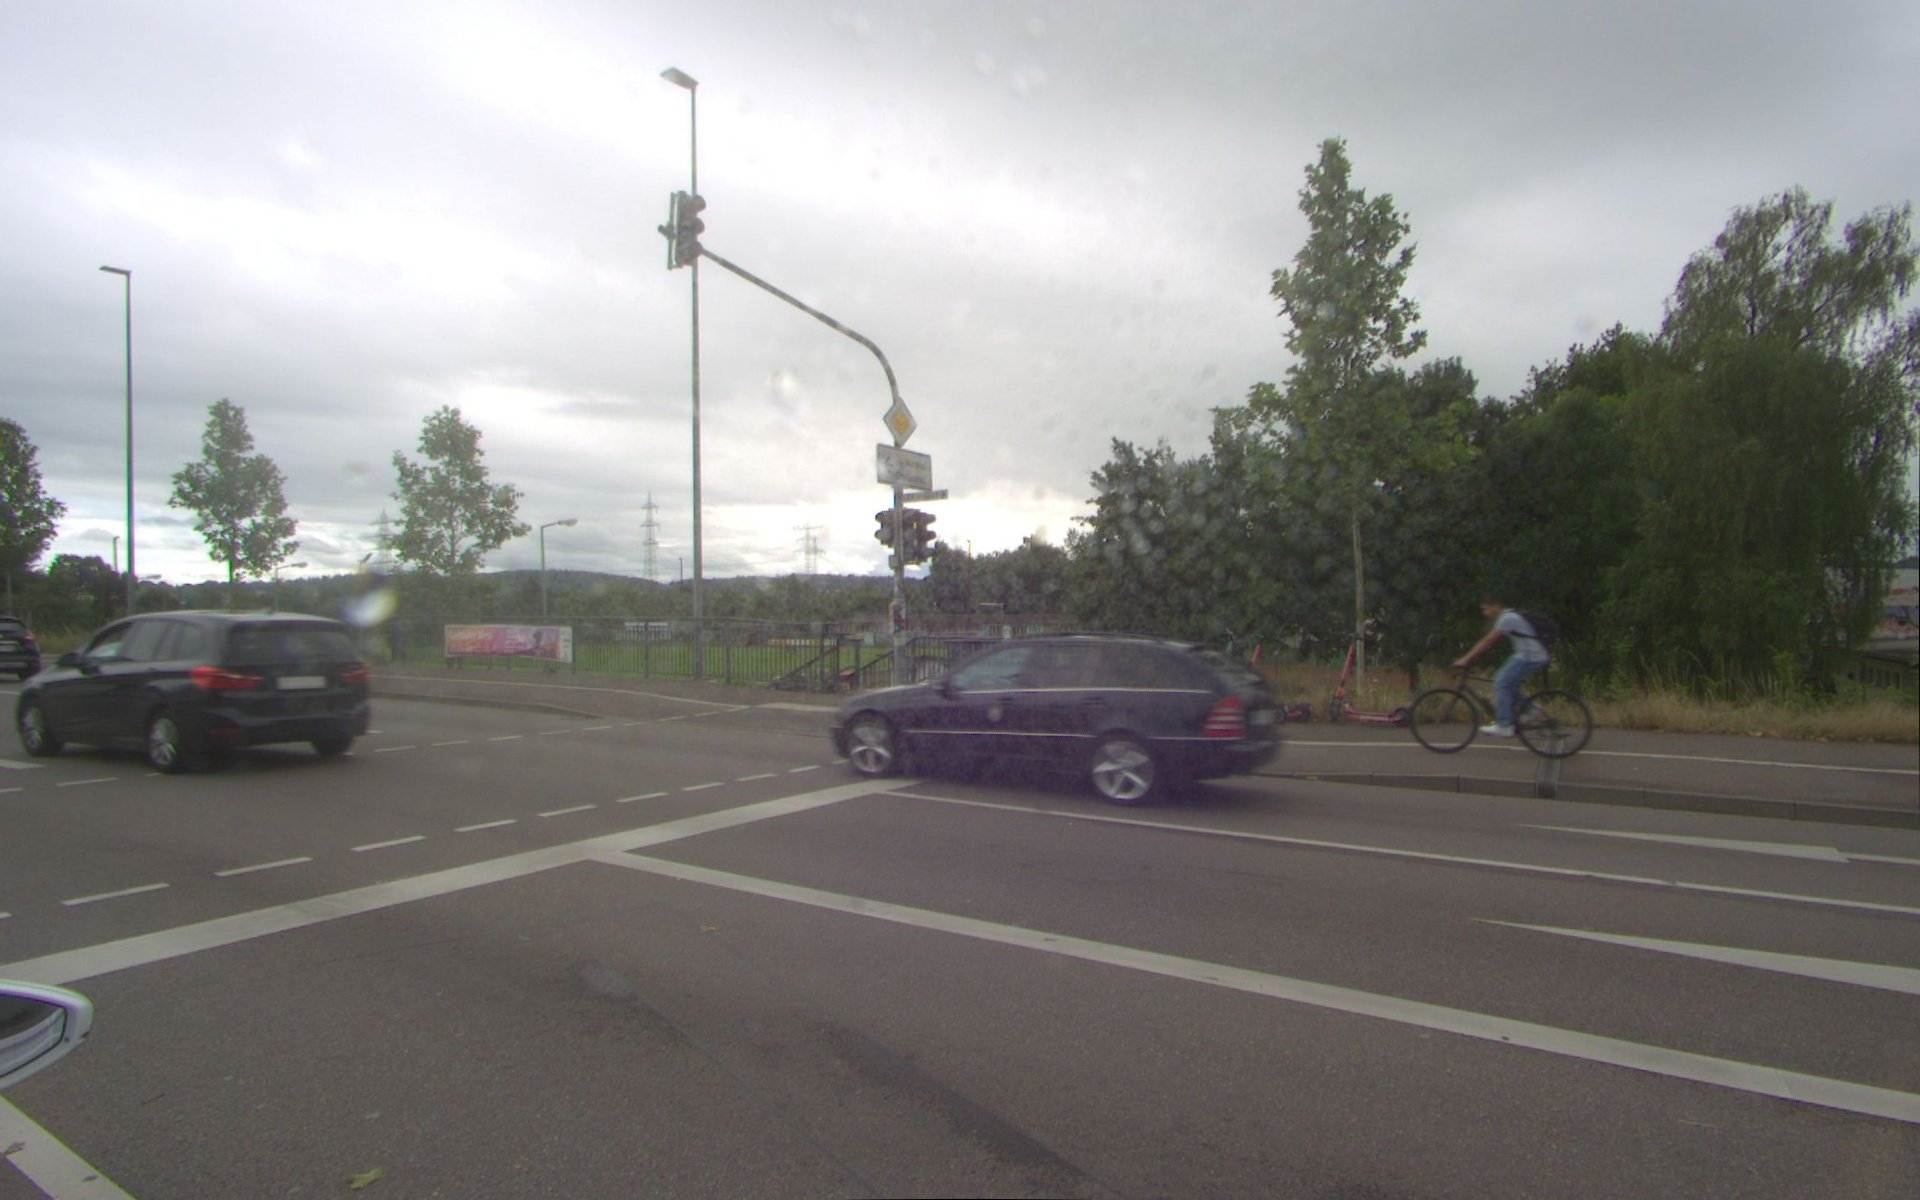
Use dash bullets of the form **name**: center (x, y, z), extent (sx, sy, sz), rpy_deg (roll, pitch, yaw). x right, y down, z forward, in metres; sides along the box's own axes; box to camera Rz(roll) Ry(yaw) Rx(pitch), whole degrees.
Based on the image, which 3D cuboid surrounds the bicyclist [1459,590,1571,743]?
- **bicyclist**: center (5.656, 0.651, 10.228), extent (0.953, 1.473, 0.689), rpy_deg (-1, 2, 30)

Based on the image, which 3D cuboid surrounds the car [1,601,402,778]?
- **car**: center (-8.463, 0.864, 11.145), extent (4.247, 1.658, 1.832), rpy_deg (0, -1, 26)

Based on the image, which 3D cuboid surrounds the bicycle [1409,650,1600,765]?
- **bicycle**: center (5.578, 1.072, 10.322), extent (1.683, 1.060, 0.546), rpy_deg (-1, 2, 30)

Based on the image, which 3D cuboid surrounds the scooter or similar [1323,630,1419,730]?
- **scooter or similar**: center (5.314, 1.028, 12.976), extent (1.035, 1.230, 0.372), rpy_deg (-3, -1, 40)

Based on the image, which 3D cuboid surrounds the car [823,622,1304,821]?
- **car**: center (0.905, 0.991, 9.579), extent (4.255, 1.498, 1.733), rpy_deg (0, -2, 31)

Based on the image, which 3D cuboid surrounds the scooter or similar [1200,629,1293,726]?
- **scooter or similar**: center (3.926, 1.037, 13.737), extent (1.141, 1.260, 0.474), rpy_deg (0, 1, 40)

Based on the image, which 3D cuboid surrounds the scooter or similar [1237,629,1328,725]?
- **scooter or similar**: center (4.475, 1.041, 13.898), extent (1.139, 1.260, 0.389), rpy_deg (0, 1, 35)

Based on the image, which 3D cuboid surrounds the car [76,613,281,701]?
- **car**: center (-15.057, 1.046, 19.287), extent (3.574, 1.528, 1.728), rpy_deg (0, -1, 27)

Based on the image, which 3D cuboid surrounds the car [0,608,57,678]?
- **car**: center (-23.788, 1.012, 23.928), extent (4.249, 1.581, 1.857), rpy_deg (-1, -3, 27)

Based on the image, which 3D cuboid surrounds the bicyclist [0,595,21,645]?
- **bicyclist**: center (-29.295, 0.607, 30.376), extent (0.983, 1.499, 0.816), rpy_deg (1, 2, 22)
